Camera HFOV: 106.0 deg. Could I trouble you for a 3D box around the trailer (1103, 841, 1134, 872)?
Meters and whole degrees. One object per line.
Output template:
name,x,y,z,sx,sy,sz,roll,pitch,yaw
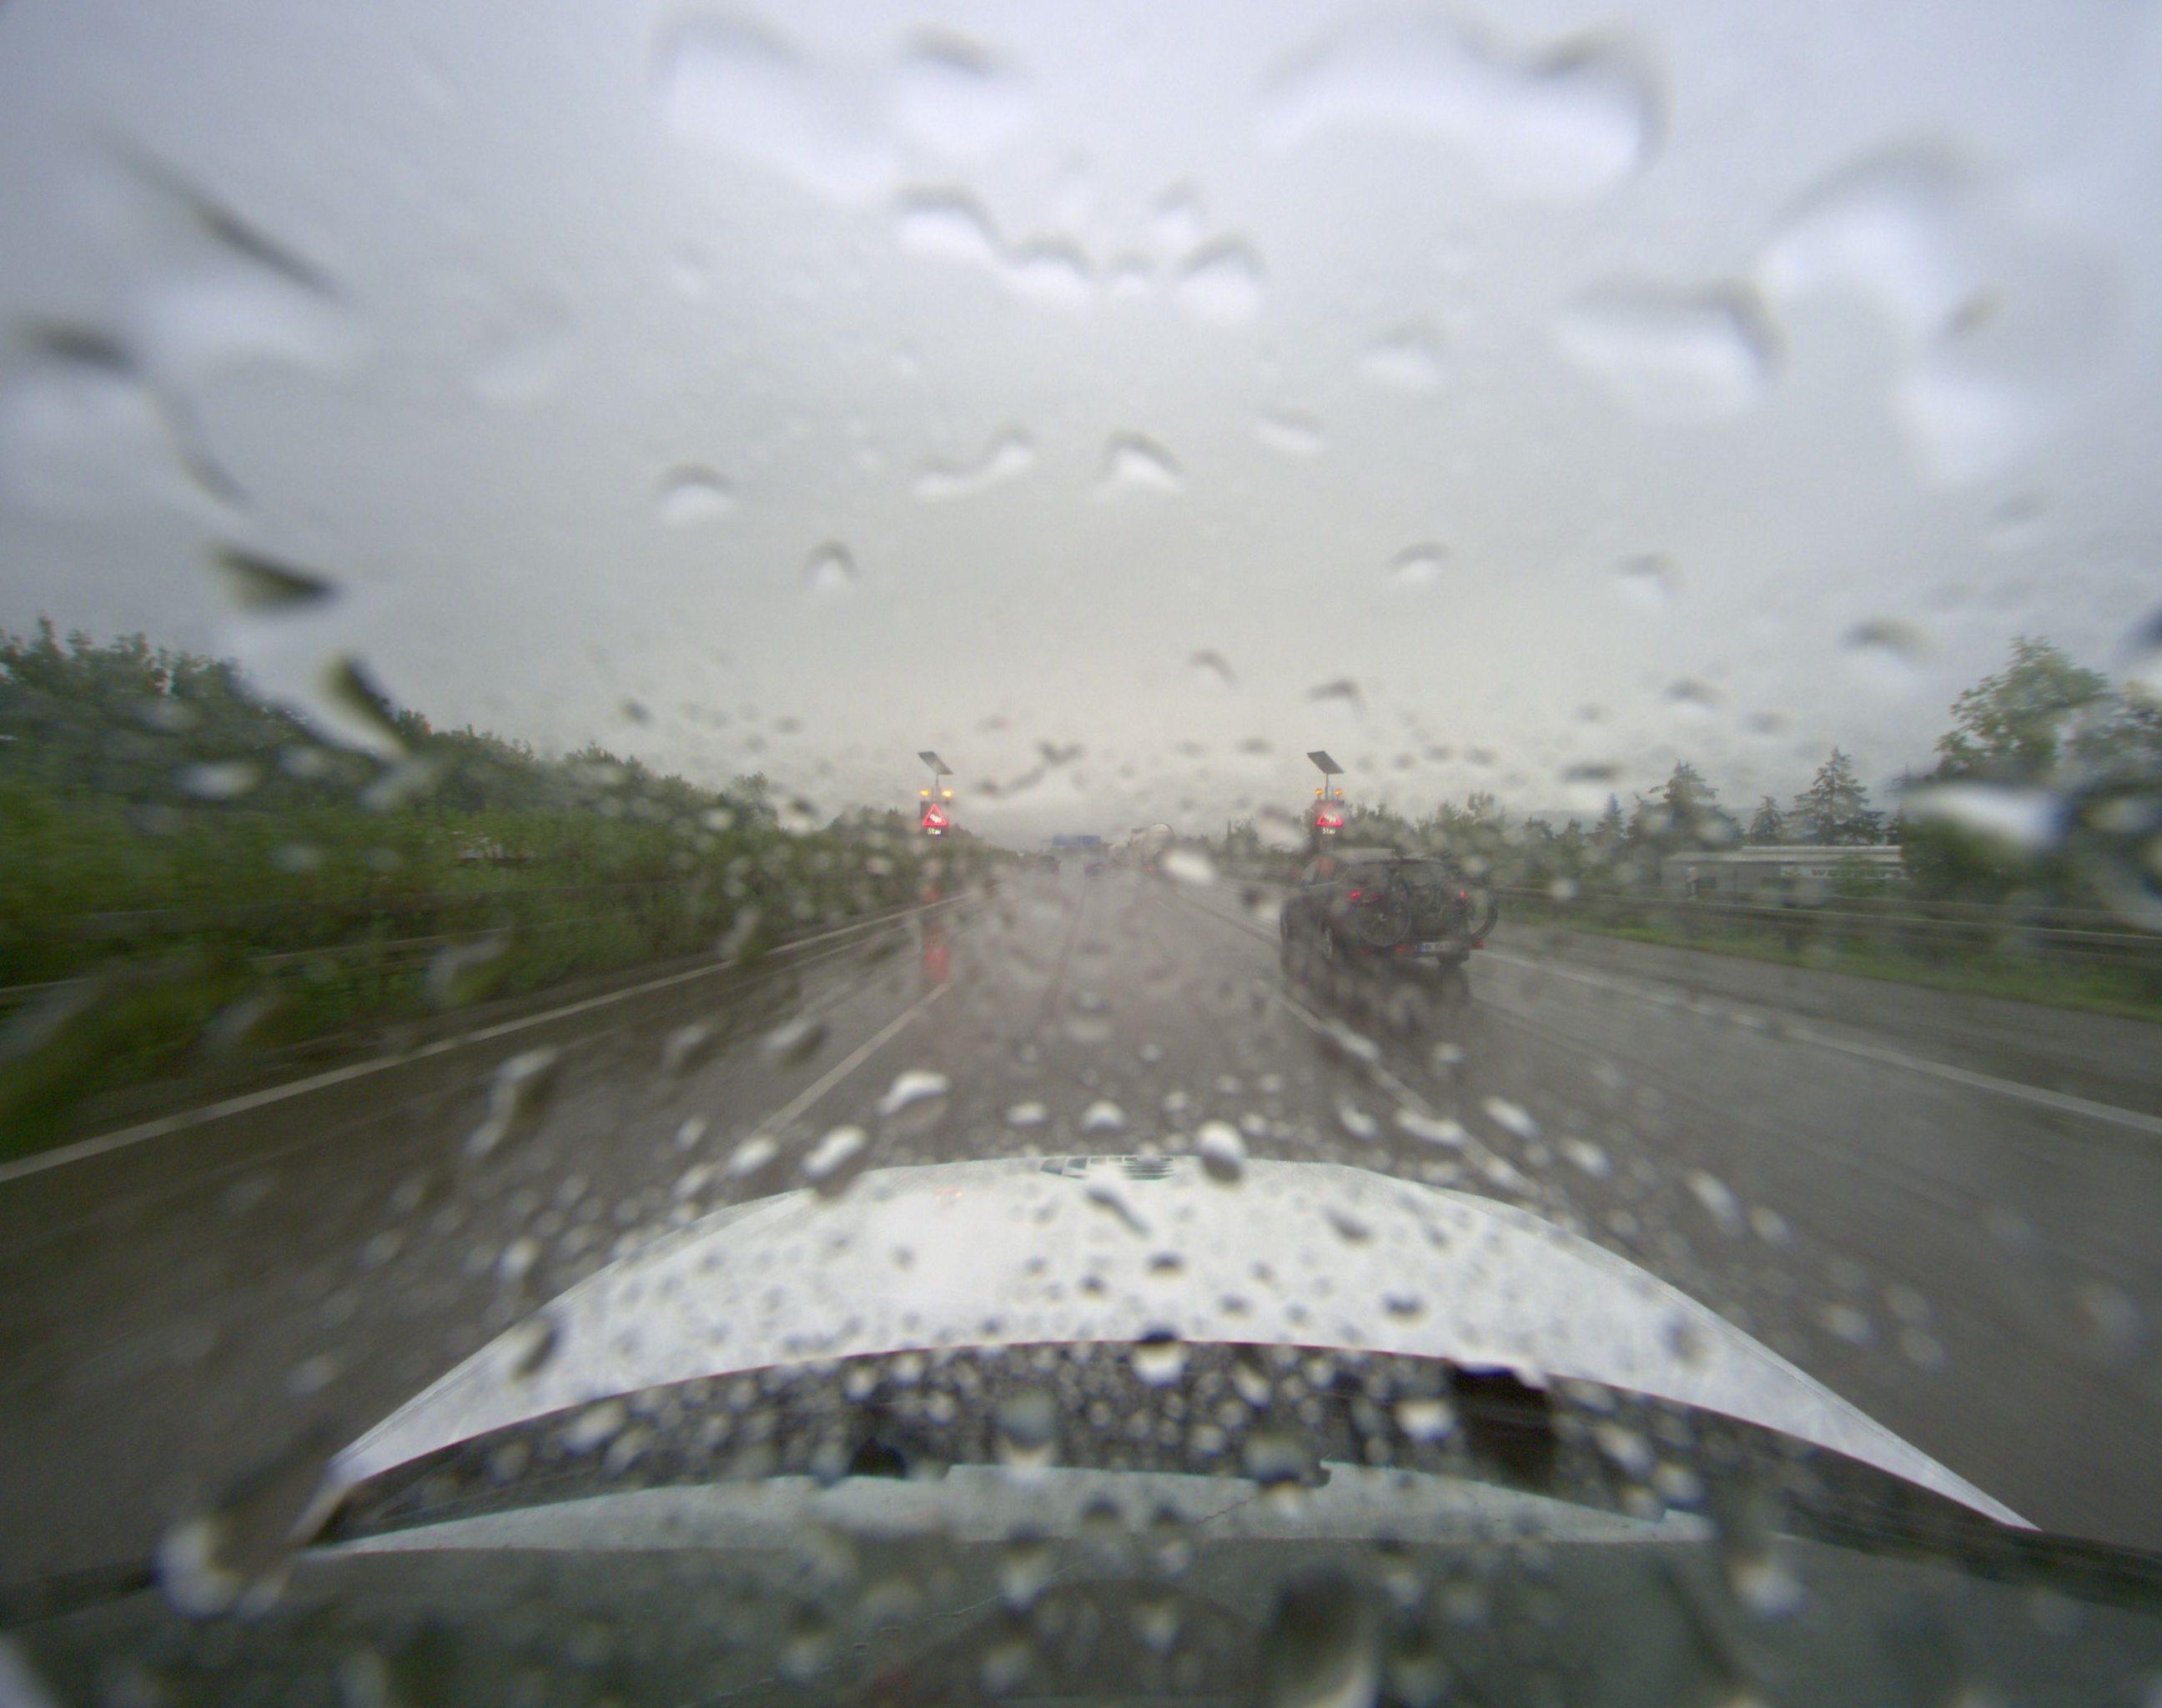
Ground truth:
trailer,4.770,0.281,104.901,2.998,3.848,8.613,1,0,-3

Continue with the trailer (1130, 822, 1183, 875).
trailer,5.596,-0.413,62.460,3.177,3.670,11.668,-1,0,1

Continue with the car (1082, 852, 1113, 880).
car,1.173,0.789,55.979,1.971,1.756,4.484,-1,0,2

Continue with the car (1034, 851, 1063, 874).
car,-2.522,0.617,64.169,1.918,1.741,4.405,-1,0,1

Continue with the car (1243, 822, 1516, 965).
car,4.246,0.491,12.901,2.447,1.746,5.723,-1,0,3
